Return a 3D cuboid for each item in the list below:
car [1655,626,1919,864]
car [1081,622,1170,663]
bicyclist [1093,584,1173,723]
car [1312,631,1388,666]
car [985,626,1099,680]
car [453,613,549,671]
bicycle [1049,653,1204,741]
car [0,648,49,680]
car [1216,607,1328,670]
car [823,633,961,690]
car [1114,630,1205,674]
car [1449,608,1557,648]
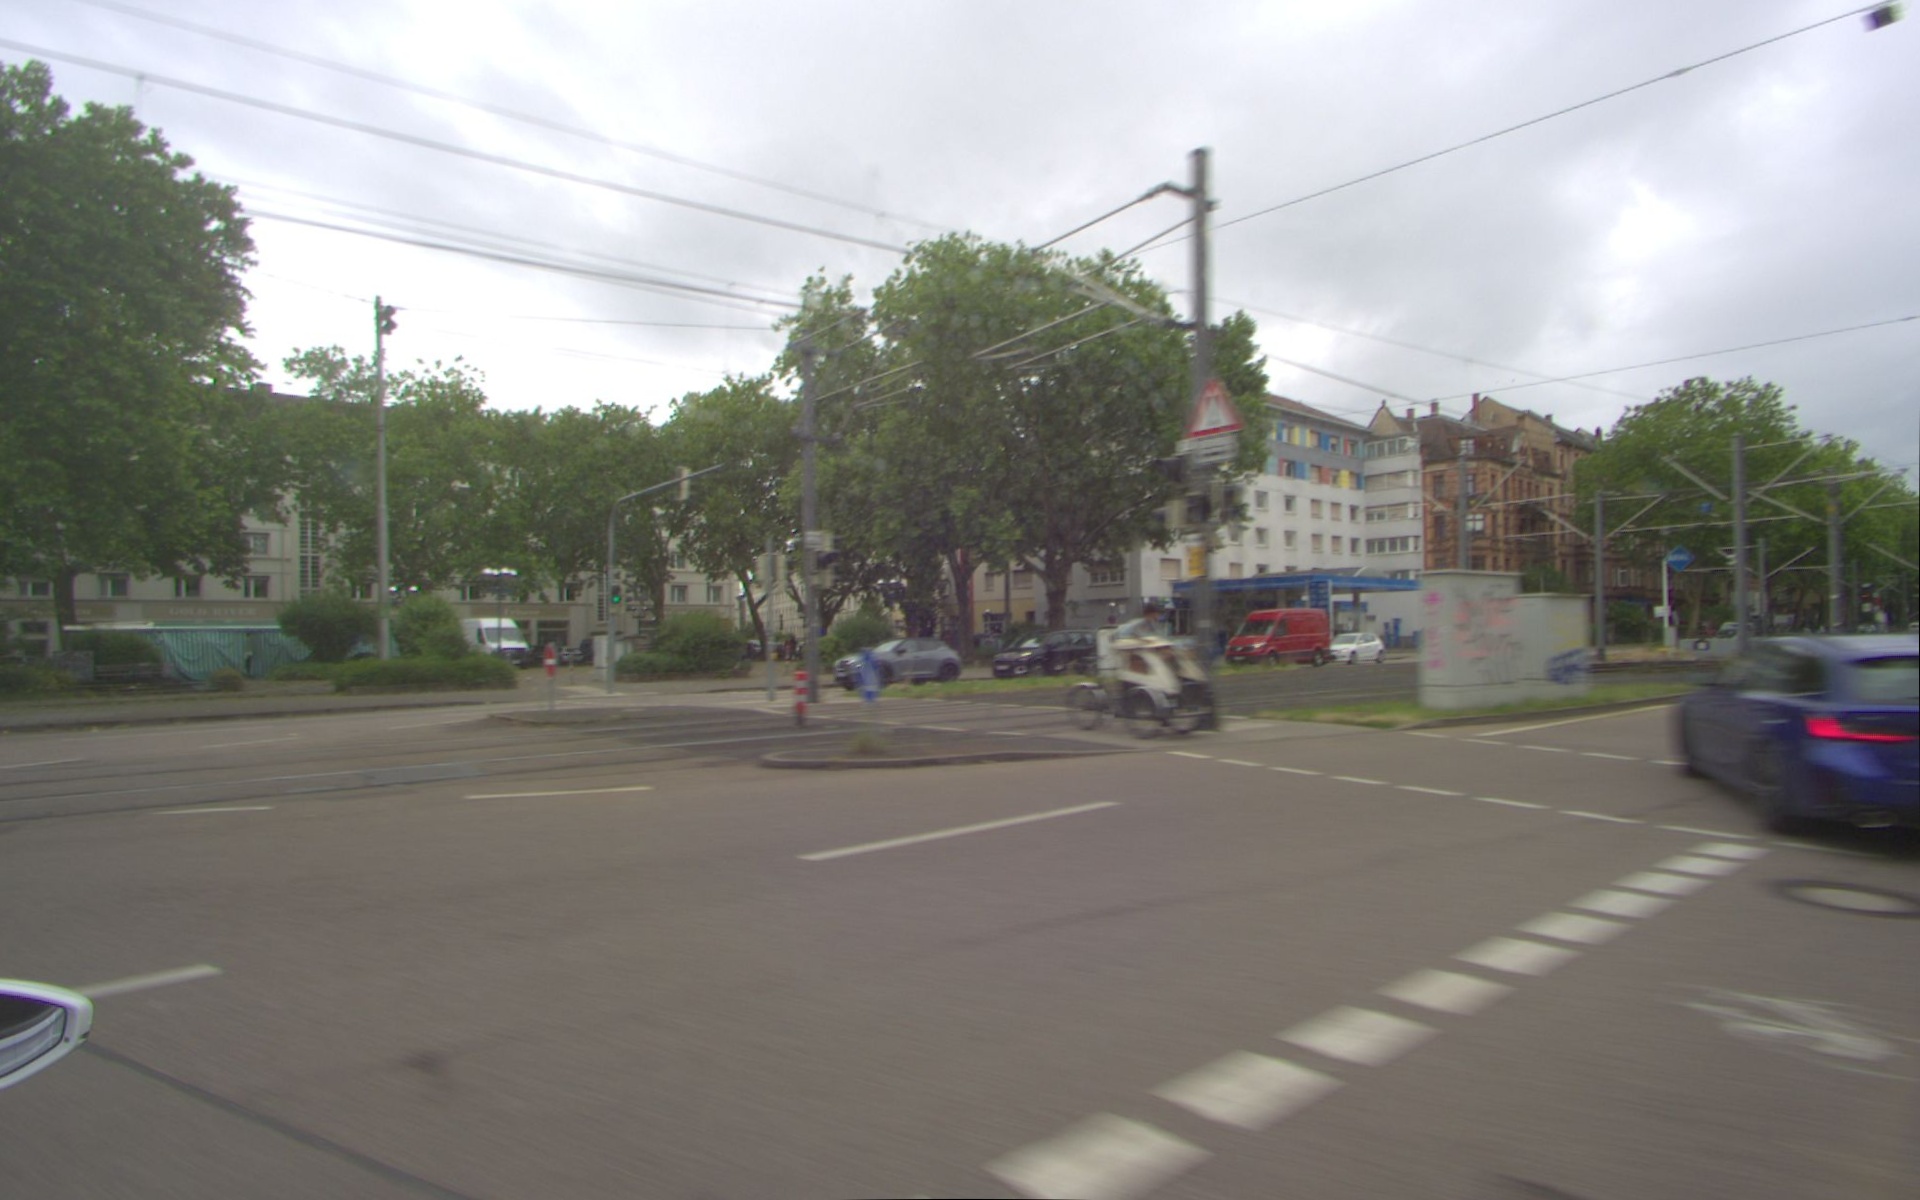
[{"bbox_3d":[7.051,0.931,7.885,1.791,1.423,4.308,-1,-2,24],"label":"car"},{"bbox_3d":[9.061,2.296,54.595,5.033,2.123,1.976,1,-2,-41],"label":"car"},{"bbox_3d":[2.166,0.657,12.566,0.609,1.675,0.747,0,-1,-42],"label":"bicyclist"},{"bbox_3d":[18.703,2.283,47.925,4.105,1.549,1.673,1,-2,-41],"label":"car"},{"bbox_3d":[2.896,1.810,34.829,3.907,1.733,1.673,0,-2,-41],"label":"car"},{"bbox_3d":[-22.688,2.067,49.402,5.384,2.673,2.225,-2,-2,40],"label":"car"},{"bbox_3d":[2.058,1.182,12.663,0.547,1.008,2.043,0,-2,-41],"label":"bicycle"},{"bbox_3d":[-48.435,3.270,51.672,1.781,1.535,3.799,0,-2,-38],"label":"car"},{"bbox_3d":[13.600,1.646,43.420,5.550,2.571,1.976,0,-2,-41],"label":"car"},{"bbox_3d":[-2.014,1.823,30.327,3.946,1.581,1.673,1,-2,-41],"label":"car"},{"bbox_3d":[7.748,2.002,38.786,3.430,1.581,1.673,0,-2,-41],"label":"car"},{"bbox_3d":[38.972,2.027,71.966,6.975,2.762,2.246,-1,-2,-12],"label":"car"}]
